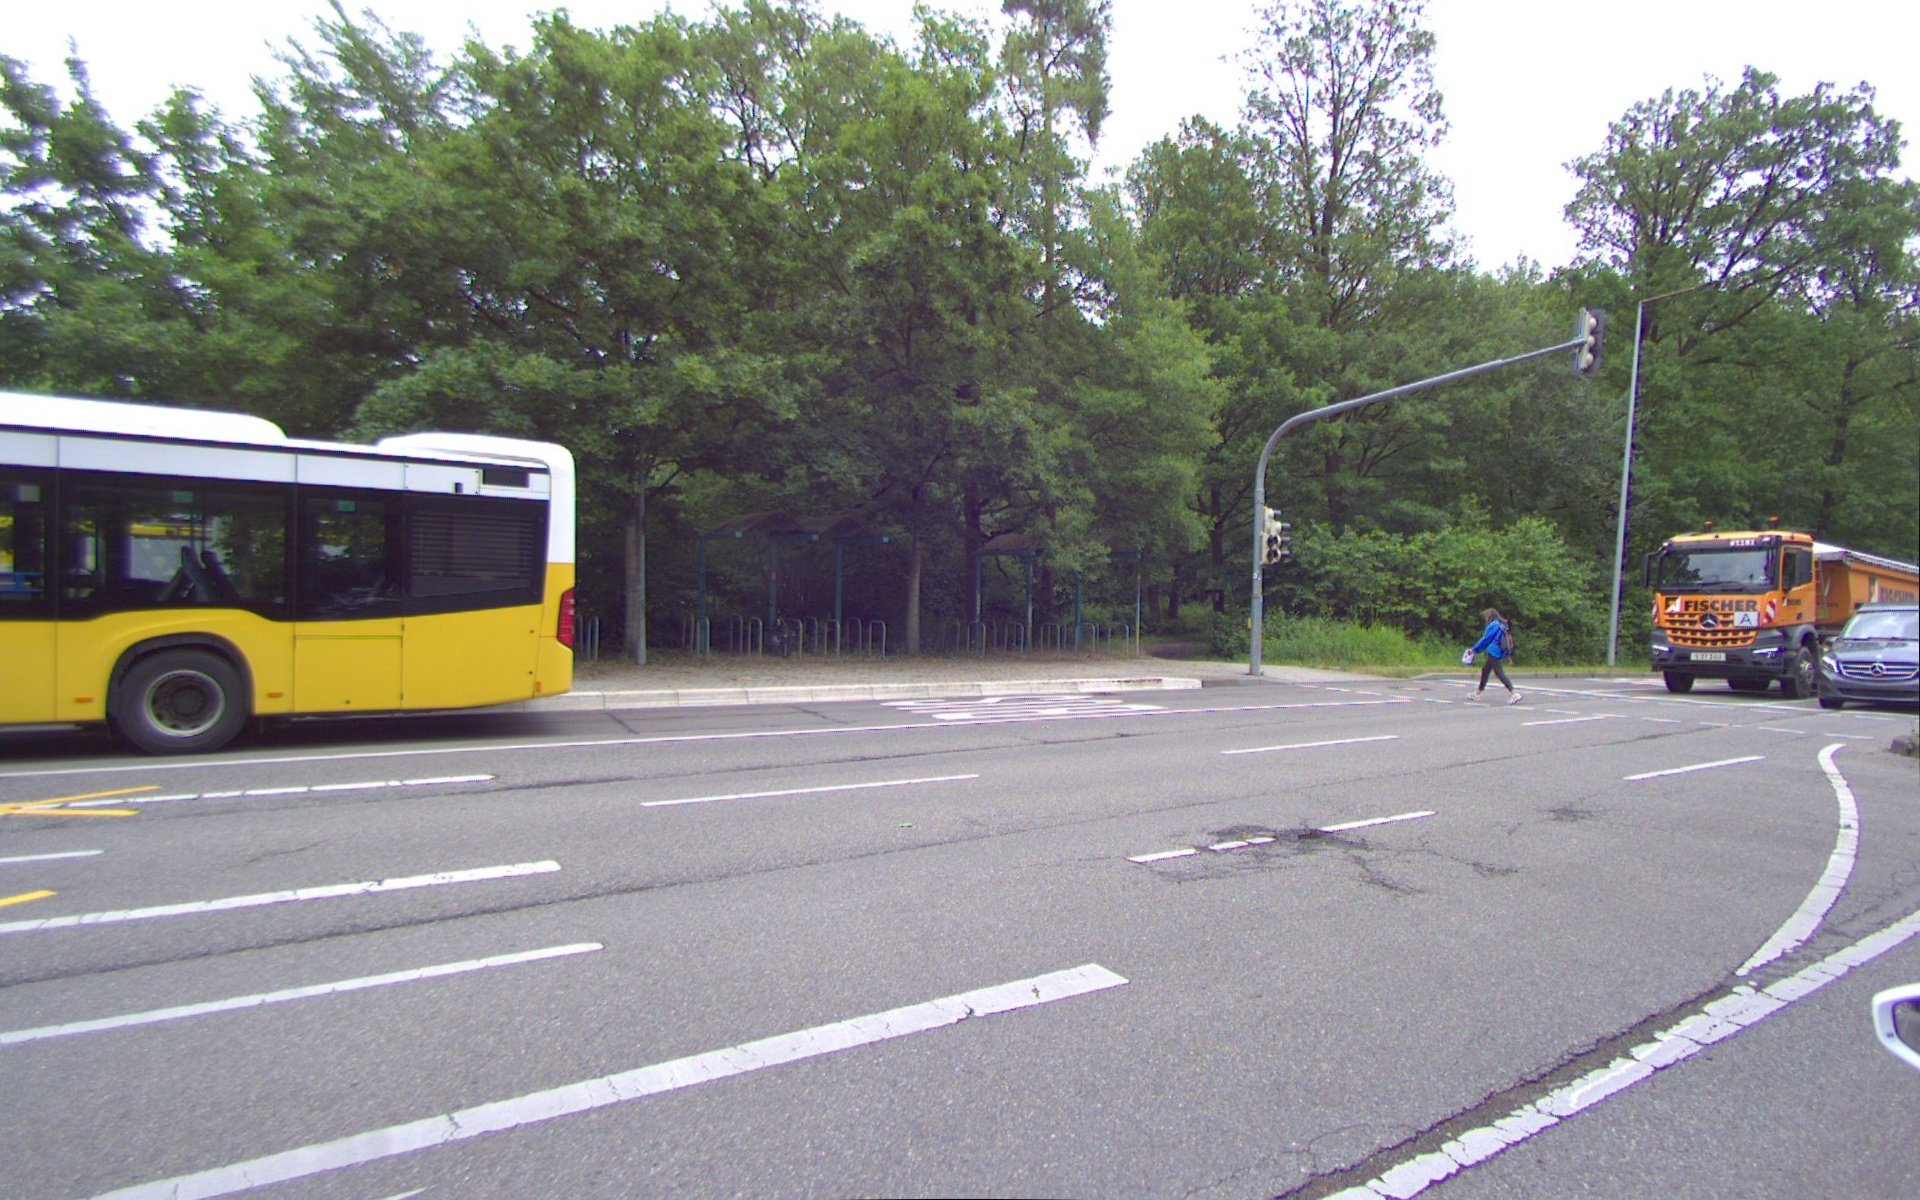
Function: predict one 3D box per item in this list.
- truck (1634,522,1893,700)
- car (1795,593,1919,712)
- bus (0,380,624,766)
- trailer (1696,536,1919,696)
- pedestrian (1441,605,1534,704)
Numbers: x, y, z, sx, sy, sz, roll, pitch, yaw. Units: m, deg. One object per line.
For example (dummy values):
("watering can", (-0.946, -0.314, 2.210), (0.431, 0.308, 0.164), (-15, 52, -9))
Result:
("truck", (17.902, 0.334, 22.215), (7.092, 3.362, 2.720), (2, -2, -36))
("car", (17.117, 0.932, 18.112), (4.790, 1.918, 1.981), (2, -2, -35))
("bus", (-8.041, -0.220, 9.842), (8.594, 3.169, 2.884), (1, 0, -31))
("trailer", (21.315, 0.484, 24.727), (8.487, 3.362, 2.720), (2, -2, -36))
("pedestrian", (9.351, 0.932, 17.824), (1.055, 1.671, 1.043), (0, 0, -27))
